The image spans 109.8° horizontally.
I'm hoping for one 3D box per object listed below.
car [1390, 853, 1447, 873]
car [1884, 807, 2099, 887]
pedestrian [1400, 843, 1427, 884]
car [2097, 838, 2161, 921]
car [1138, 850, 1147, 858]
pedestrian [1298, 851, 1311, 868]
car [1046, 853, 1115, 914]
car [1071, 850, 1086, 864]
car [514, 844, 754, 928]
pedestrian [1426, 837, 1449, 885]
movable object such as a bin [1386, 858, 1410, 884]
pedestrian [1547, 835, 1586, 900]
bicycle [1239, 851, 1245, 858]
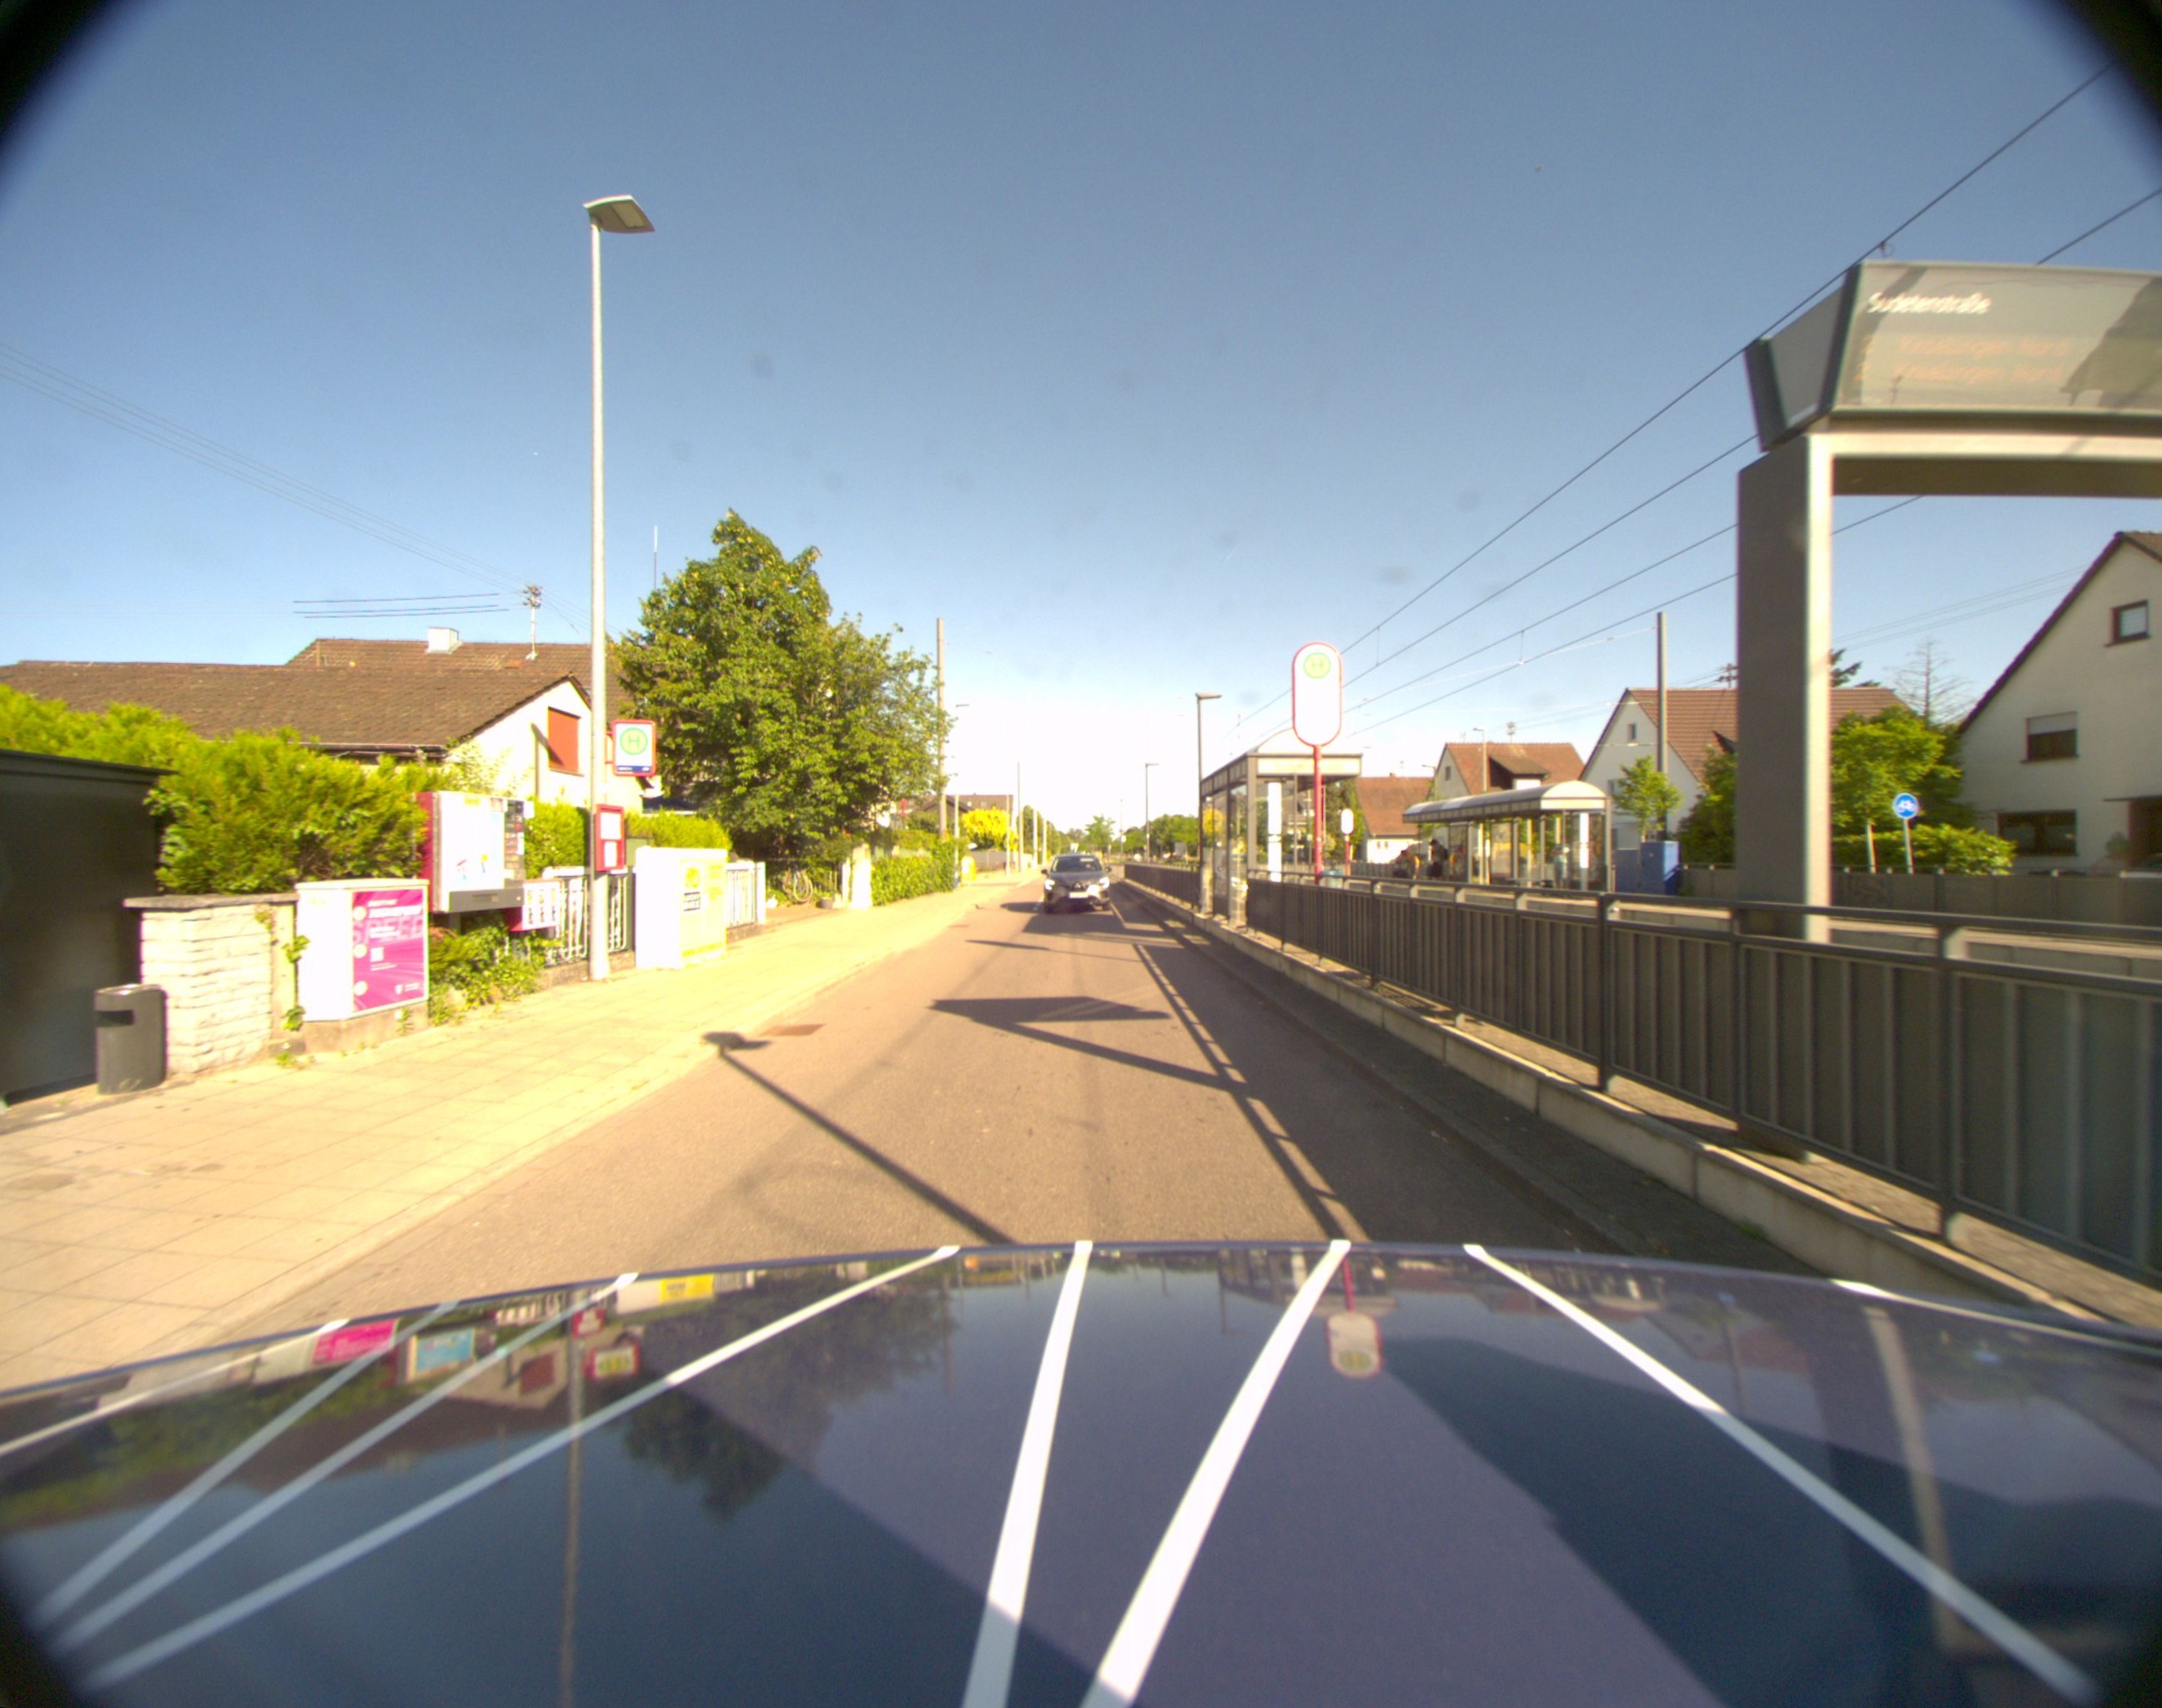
[{"bbox_3d":[25.431,0.631,57.482,1.939,1.441,5.162,0,0,0],"label":"car"},{"bbox_3d":[24.752,-0.211,20.735,4.000,1.958,1.931,-2,1,-8],"label":"car"},{"bbox_3d":[12.666,0.358,28.939,0.677,1.527,0.749,0,1,-5],"label":"pedestrian"},{"bbox_3d":[25.823,0.528,17.082,3.855,1.796,1.798,-2,1,-4],"label":"car"},{"bbox_3d":[15.115,-0.001,186.683,1.902,1.903,4.701,0,0,0],"label":"car"},{"bbox_3d":[21.794,0.498,74.139,0.967,1.631,1.085,0,1,-1],"label":"pedestrian"},{"bbox_3d":[-0.080,0.802,22.656,1.868,1.614,3.999,-1,0,-2],"label":"car"},{"bbox_3d":[-0.385,0.370,105.722,1.998,1.824,3.999,-2,1,0],"label":"car"},{"bbox_3d":[-8.810,0.619,15.303,3.773,1.560,1.750,1,1,-10],"label":"car"},{"bbox_3d":[12.978,0.254,27.672,0.521,1.698,0.581,0,1,-5],"label":"pedestrian"},{"bbox_3d":[12.059,0.639,28.902,0.548,0.982,0.741,0,0,-4],"label":"movable object such as a bin"},{"bbox_3d":[13.035,0.361,20.408,0.501,1.686,0.771,2,1,0],"label":"pedestrian"},{"bbox_3d":[22.754,0.031,107.421,0.424,0.936,1.748,-2,1,0],"label":"bicycle"}]
